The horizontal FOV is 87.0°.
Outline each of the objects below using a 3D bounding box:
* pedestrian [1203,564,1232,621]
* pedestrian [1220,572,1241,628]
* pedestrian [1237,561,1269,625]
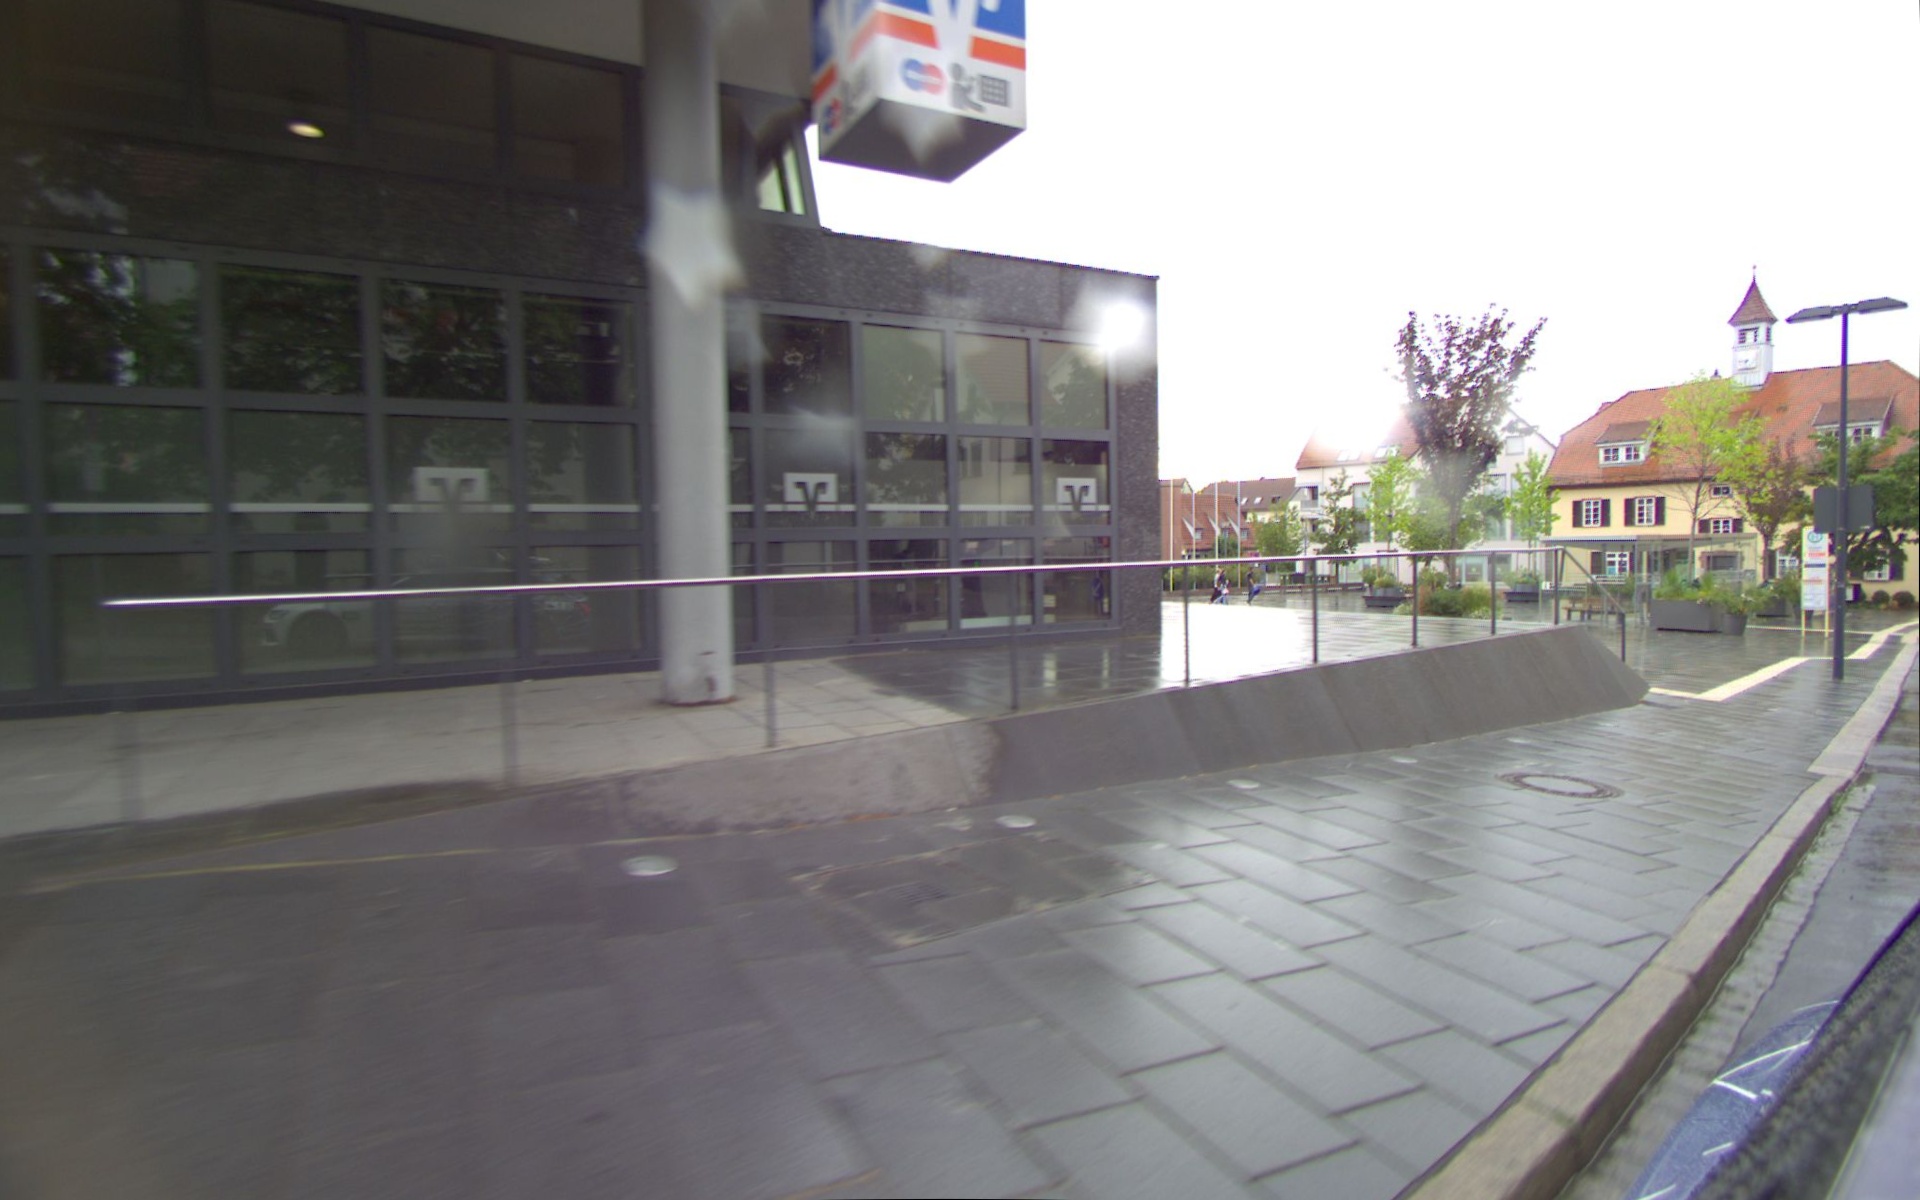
[{"bbox_3d":[11.361,-0.331,44.633,0.761,2.468,0.946,-1,3,-25],"label":"pedestrian"},{"bbox_3d":[12.048,-0.004,45.087,0.558,2.469,0.738,-1,3,-27],"label":"pedestrian"},{"bbox_3d":[12.744,-0.322,44.060,0.815,2.716,1.059,-1,3,-23],"label":"pedestrian"}]
